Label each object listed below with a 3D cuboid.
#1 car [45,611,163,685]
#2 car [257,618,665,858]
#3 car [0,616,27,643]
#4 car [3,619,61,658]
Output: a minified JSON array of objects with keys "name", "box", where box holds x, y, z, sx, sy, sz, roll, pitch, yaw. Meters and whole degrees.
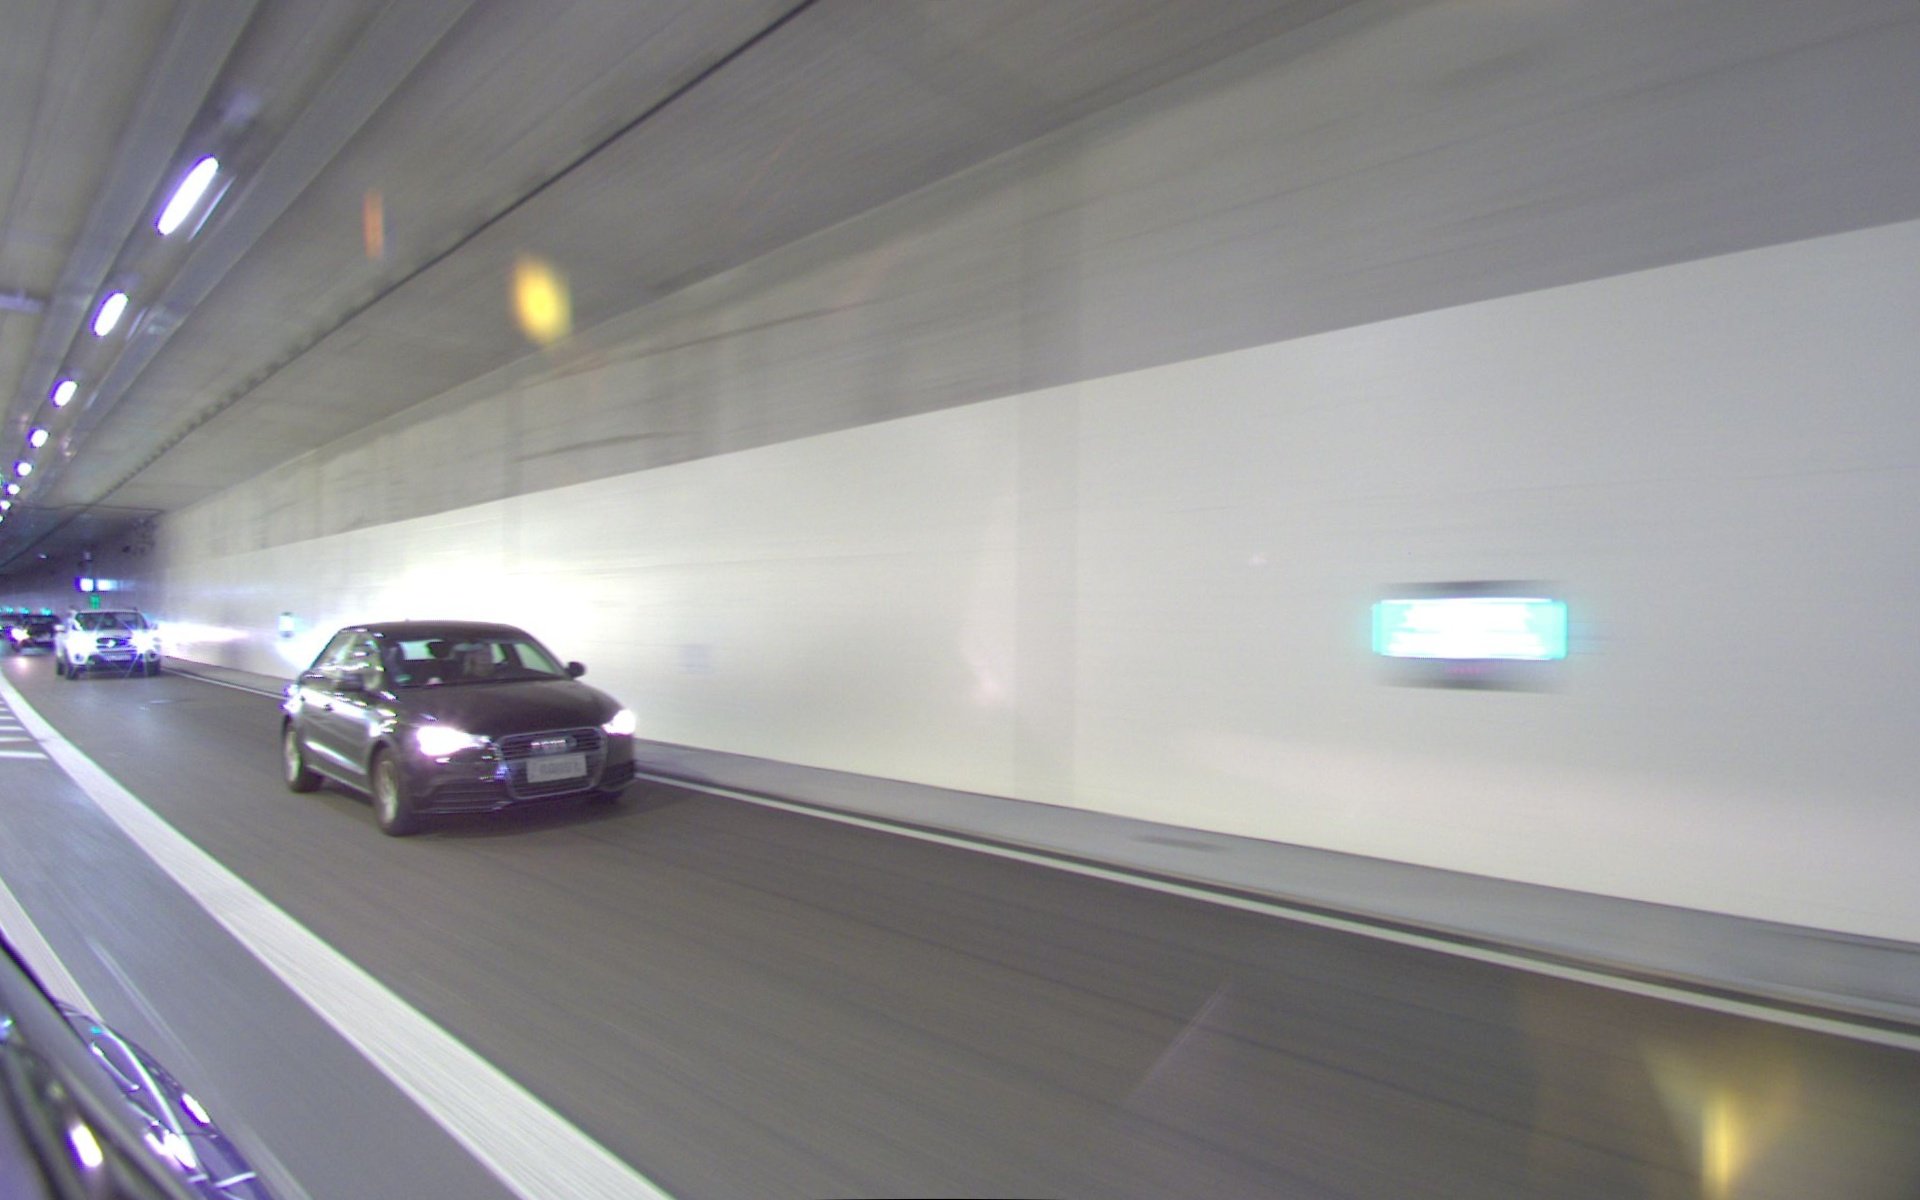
[{"name":"car","box":[-21.323,1.135,25.168,3.831,1.677,1.829,-1,-1,43]},{"name":"car","box":[-4.083,0.861,7.981,3.876,1.412,1.638,-1,-1,43]},{"name":"car","box":[-55.401,1.720,58.638,3.680,1.463,1.695,-1,1,43]},{"name":"car","box":[-38.242,1.538,41.684,3.682,1.481,1.586,-1,1,45]}]
